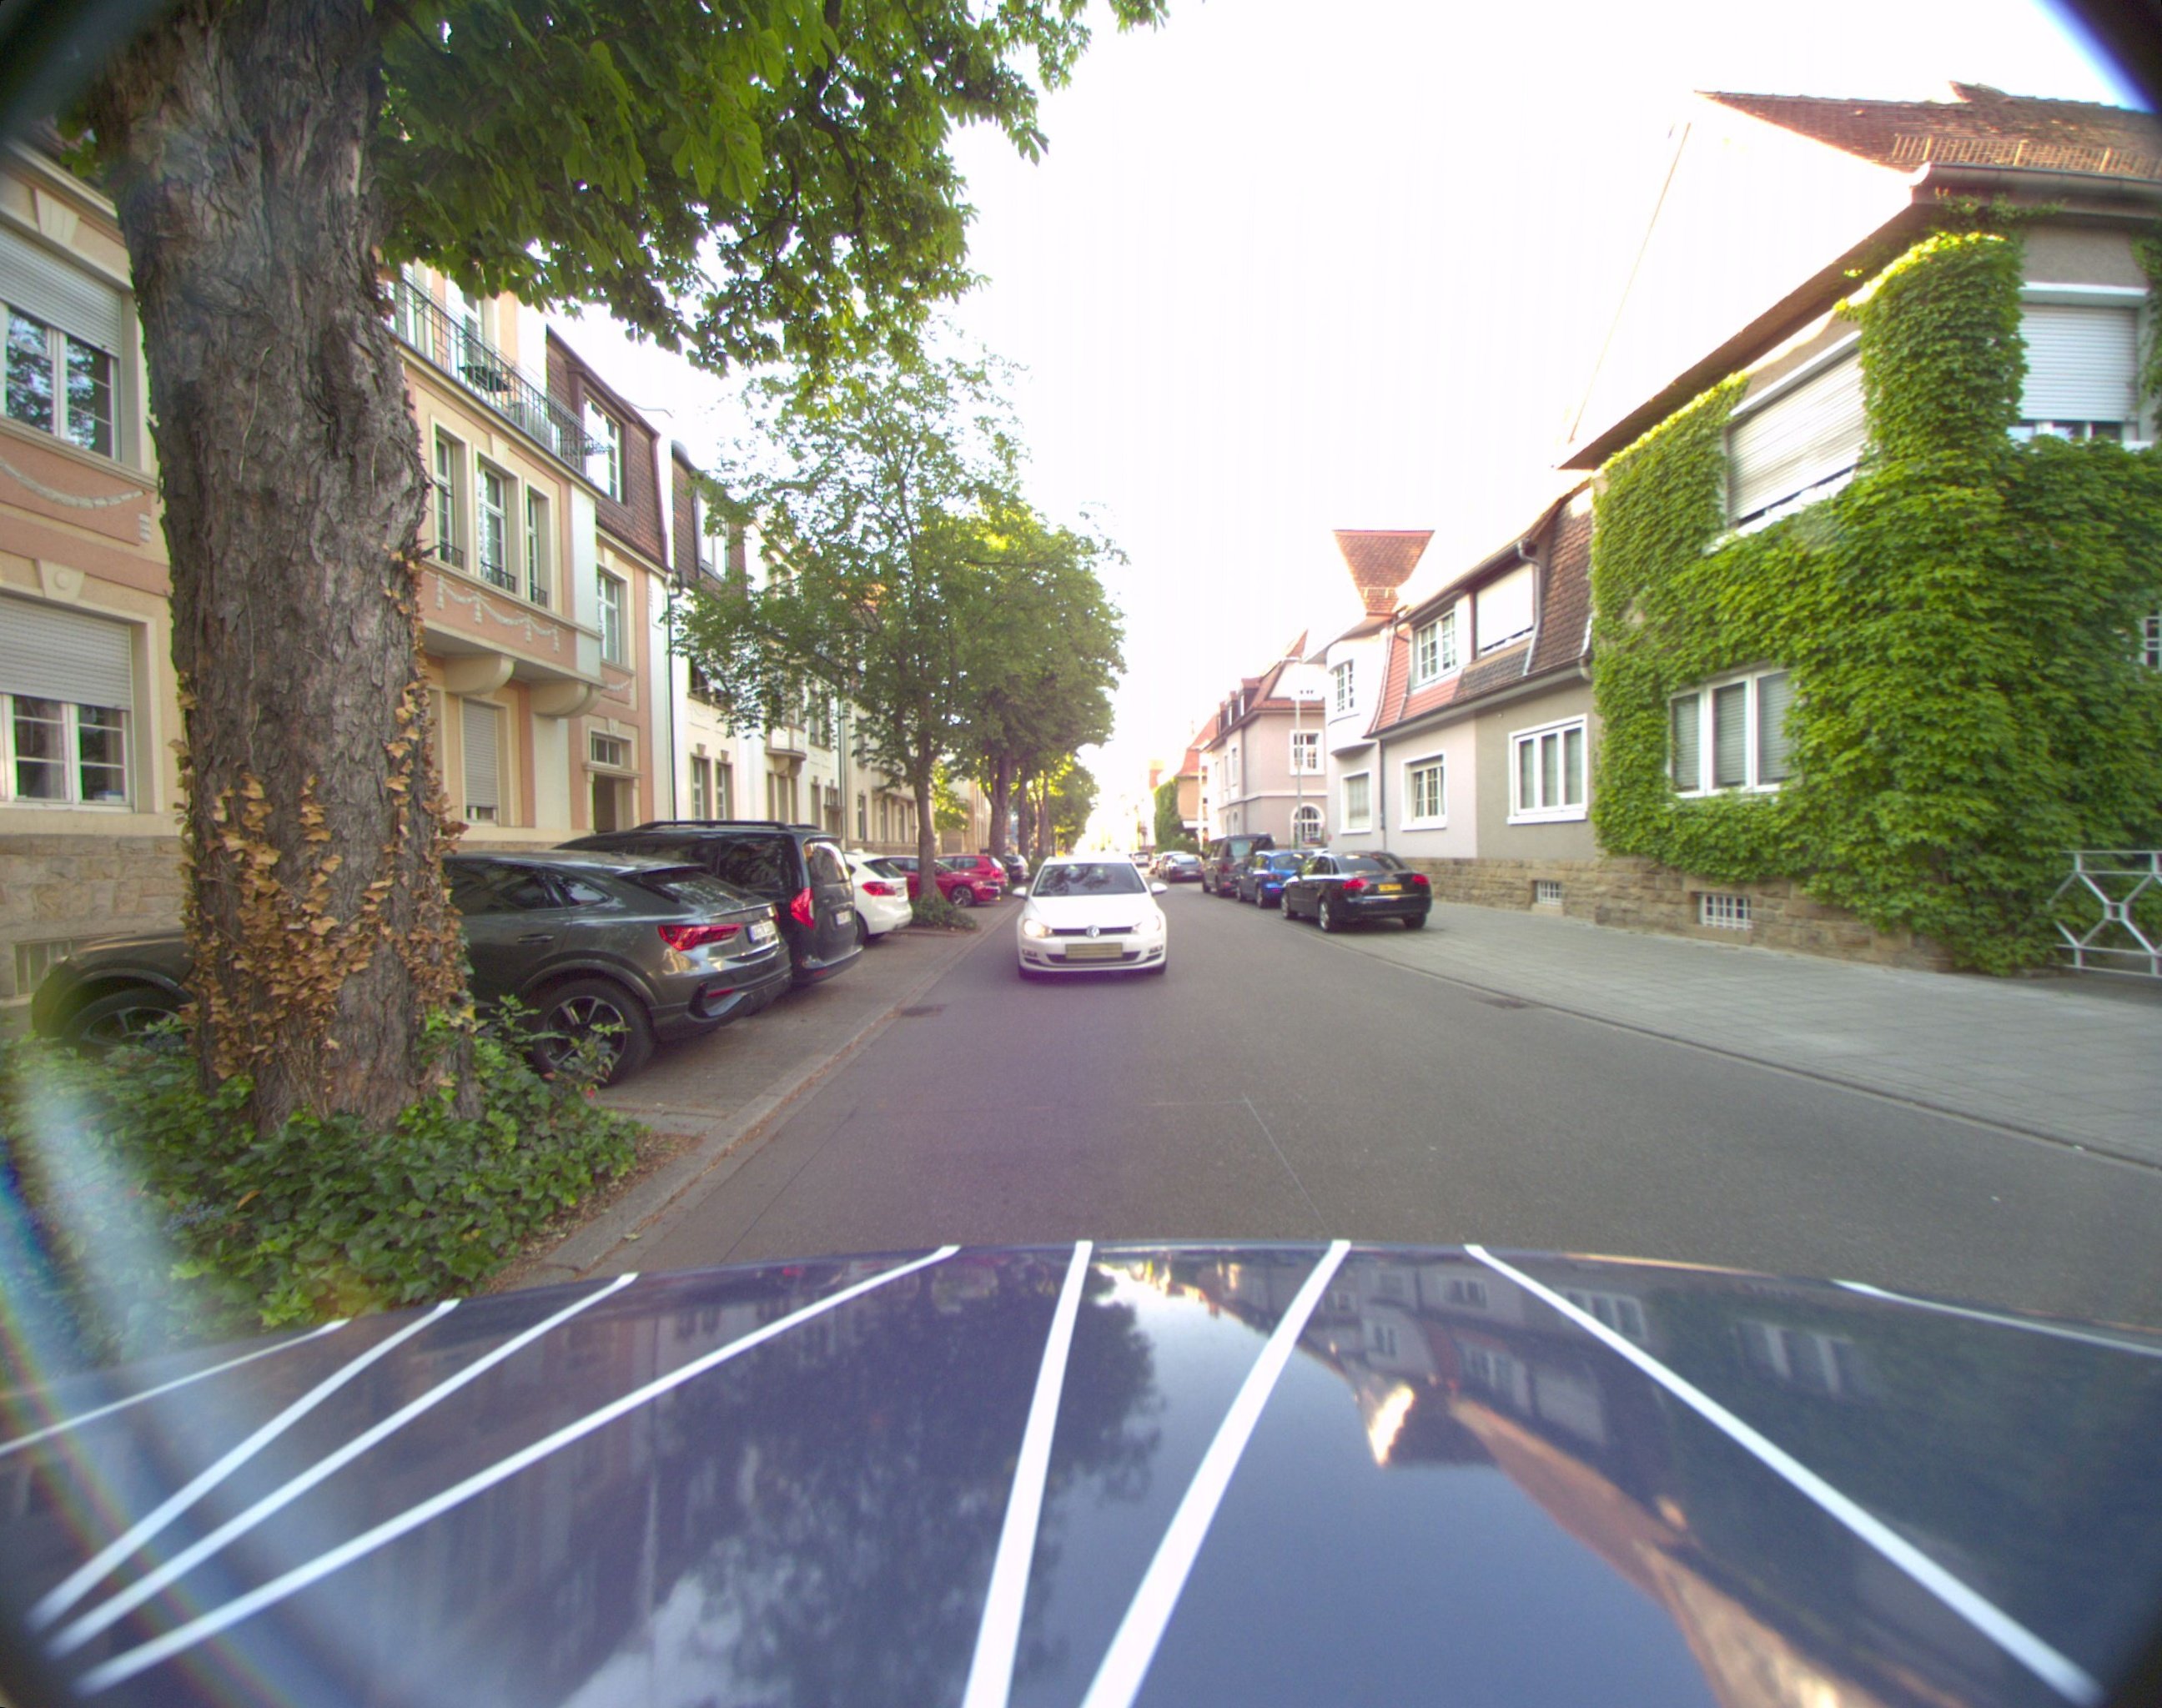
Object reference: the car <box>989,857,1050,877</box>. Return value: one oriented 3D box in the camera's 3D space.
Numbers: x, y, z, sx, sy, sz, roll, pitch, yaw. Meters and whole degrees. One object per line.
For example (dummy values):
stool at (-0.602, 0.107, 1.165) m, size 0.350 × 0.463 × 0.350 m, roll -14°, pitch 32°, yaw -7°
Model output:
car at (-3.559, 0.731, 44.433) m, size 3.399 × 1.143 × 1.542 m, roll 0°, pitch 1°, yaw 2°

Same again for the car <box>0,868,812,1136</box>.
car at (-4.535, 0.893, 5.504) m, size 4.522 × 1.514 × 1.844 m, roll 0°, pitch 1°, yaw -4°

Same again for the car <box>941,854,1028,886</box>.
car at (-4.309, 0.716, 34.323) m, size 3.680 × 1.390 × 1.576 m, roll 0°, pitch 1°, yaw 2°

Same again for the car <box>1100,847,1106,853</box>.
car at (5.858, -1.038, 202.665) m, size 1.699 × 1.520 × 3.677 m, roll -3°, pitch 1°, yaw 2°

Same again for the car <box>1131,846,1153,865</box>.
car at (5.428, 0.146, 68.003) m, size 1.699 × 1.558 × 3.677 m, roll -3°, pitch 1°, yaw 2°

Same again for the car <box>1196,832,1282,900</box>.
car at (5.150, 0.353, 25.350) m, size 1.842 × 1.964 × 4.612 m, roll -3°, pitch 1°, yaw 1°

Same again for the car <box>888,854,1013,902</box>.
car at (-4.134, 0.754, 24.463) m, size 3.680 × 1.473 × 1.659 m, roll 0°, pitch 1°, yaw 3°

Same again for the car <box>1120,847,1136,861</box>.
car at (5.572, -0.054, 91.006) m, size 1.699 × 1.520 × 3.677 m, roll -3°, pitch 1°, yaw 2°

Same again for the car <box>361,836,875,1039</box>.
car at (-4.433, 0.742, 7.829) m, size 4.121 × 1.827 × 1.844 m, roll 0°, pitch 1°, yaw -2°

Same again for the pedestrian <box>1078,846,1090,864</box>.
pedestrian at (0.306, 0.124, 85.344) m, size 1.276 × 1.927 × 1.186 m, roll -3°, pitch 1°, yaw -1°

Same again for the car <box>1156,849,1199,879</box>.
car at (5.289, 0.502, 42.140) m, size 1.932 × 1.458 × 4.062 m, roll -3°, pitch 1°, yaw 2°

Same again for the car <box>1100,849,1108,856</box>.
car at (5.299, -0.280, 173.286) m, size 1.699 × 1.520 × 3.677 m, roll -3°, pitch 1°, yaw 2°

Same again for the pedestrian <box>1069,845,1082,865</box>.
pedestrian at (-0.510, 0.106, 73.135) m, size 1.119 × 1.927 × 1.097 m, roll -3°, pitch 1°, yaw -1°

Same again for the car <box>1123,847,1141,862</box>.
car at (5.444, 0.054, 80.760) m, size 1.699 × 1.520 × 3.677 m, roll -3°, pitch 1°, yaw 2°

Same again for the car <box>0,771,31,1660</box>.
car at (-4.590, 0.775, 0.519) m, size 4.763 × 1.864 × 1.896 m, roll 0°, pitch 1°, yaw -4°

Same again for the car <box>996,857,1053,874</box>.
car at (-3.510, 0.724, 47.639) m, size 3.399 × 1.057 × 1.542 m, roll 0°, pitch 1°, yaw 2°

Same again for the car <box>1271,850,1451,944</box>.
car at (5.142, 0.697, 14.661) m, size 1.806 × 1.438 × 4.428 m, roll -3°, pitch 1°, yaw 0°

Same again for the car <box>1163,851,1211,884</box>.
car at (5.066, 0.593, 36.664) m, size 1.932 × 1.376 × 4.063 m, roll -3°, pitch 1°, yaw 4°

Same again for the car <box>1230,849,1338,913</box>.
car at (5.285, 0.644, 20.339) m, size 1.768 × 1.438 × 4.062 m, roll -3°, pitch 1°, yaw 0°

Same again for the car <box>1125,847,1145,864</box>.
car at (5.342, 0.113, 75.268) m, size 1.699 × 1.520 × 3.677 m, roll -3°, pitch 1°, yaw 2°

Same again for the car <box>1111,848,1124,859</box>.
car at (5.560, -0.138, 115.859) m, size 1.699 × 1.520 × 3.677 m, roll -3°, pitch 1°, yaw 2°

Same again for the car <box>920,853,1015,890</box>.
car at (-4.673, 0.713, 31.707) m, size 3.680 × 1.458 × 1.576 m, roll 0°, pitch 1°, yaw 2°

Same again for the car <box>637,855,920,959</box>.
car at (-4.826, 0.821, 12.529) m, size 3.950 × 1.568 × 1.719 m, roll 0°, pitch 1°, yaw 0°

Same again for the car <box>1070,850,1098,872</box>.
car at (0.229, 0.462, 52.460) m, size 1.819 × 1.454 × 4.072 m, roll -2°, pitch 0°, yaw 1°

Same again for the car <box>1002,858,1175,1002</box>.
car at (0.118, 0.836, 10.256) m, size 1.819 × 1.454 × 4.072 m, roll -2°, pitch 0°, yaw 1°

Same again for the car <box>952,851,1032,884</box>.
car at (-4.276, 0.625, 36.837) m, size 3.680 × 1.548 × 1.576 m, roll 0°, pitch 1°, yaw 2°

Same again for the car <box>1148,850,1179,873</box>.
car at (5.445, 0.468, 50.380) m, size 1.662 × 1.354 × 3.677 m, roll -3°, pitch 1°, yaw 2°

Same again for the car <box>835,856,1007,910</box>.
car at (-4.529, 0.803, 21.935) m, size 4.530 × 1.443 × 1.867 m, roll 0°, pitch 1°, yaw 3°

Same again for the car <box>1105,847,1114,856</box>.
car at (5.585, -0.485, 149.116) m, size 1.699 × 1.520 × 3.677 m, roll -3°, pitch 1°, yaw 2°
